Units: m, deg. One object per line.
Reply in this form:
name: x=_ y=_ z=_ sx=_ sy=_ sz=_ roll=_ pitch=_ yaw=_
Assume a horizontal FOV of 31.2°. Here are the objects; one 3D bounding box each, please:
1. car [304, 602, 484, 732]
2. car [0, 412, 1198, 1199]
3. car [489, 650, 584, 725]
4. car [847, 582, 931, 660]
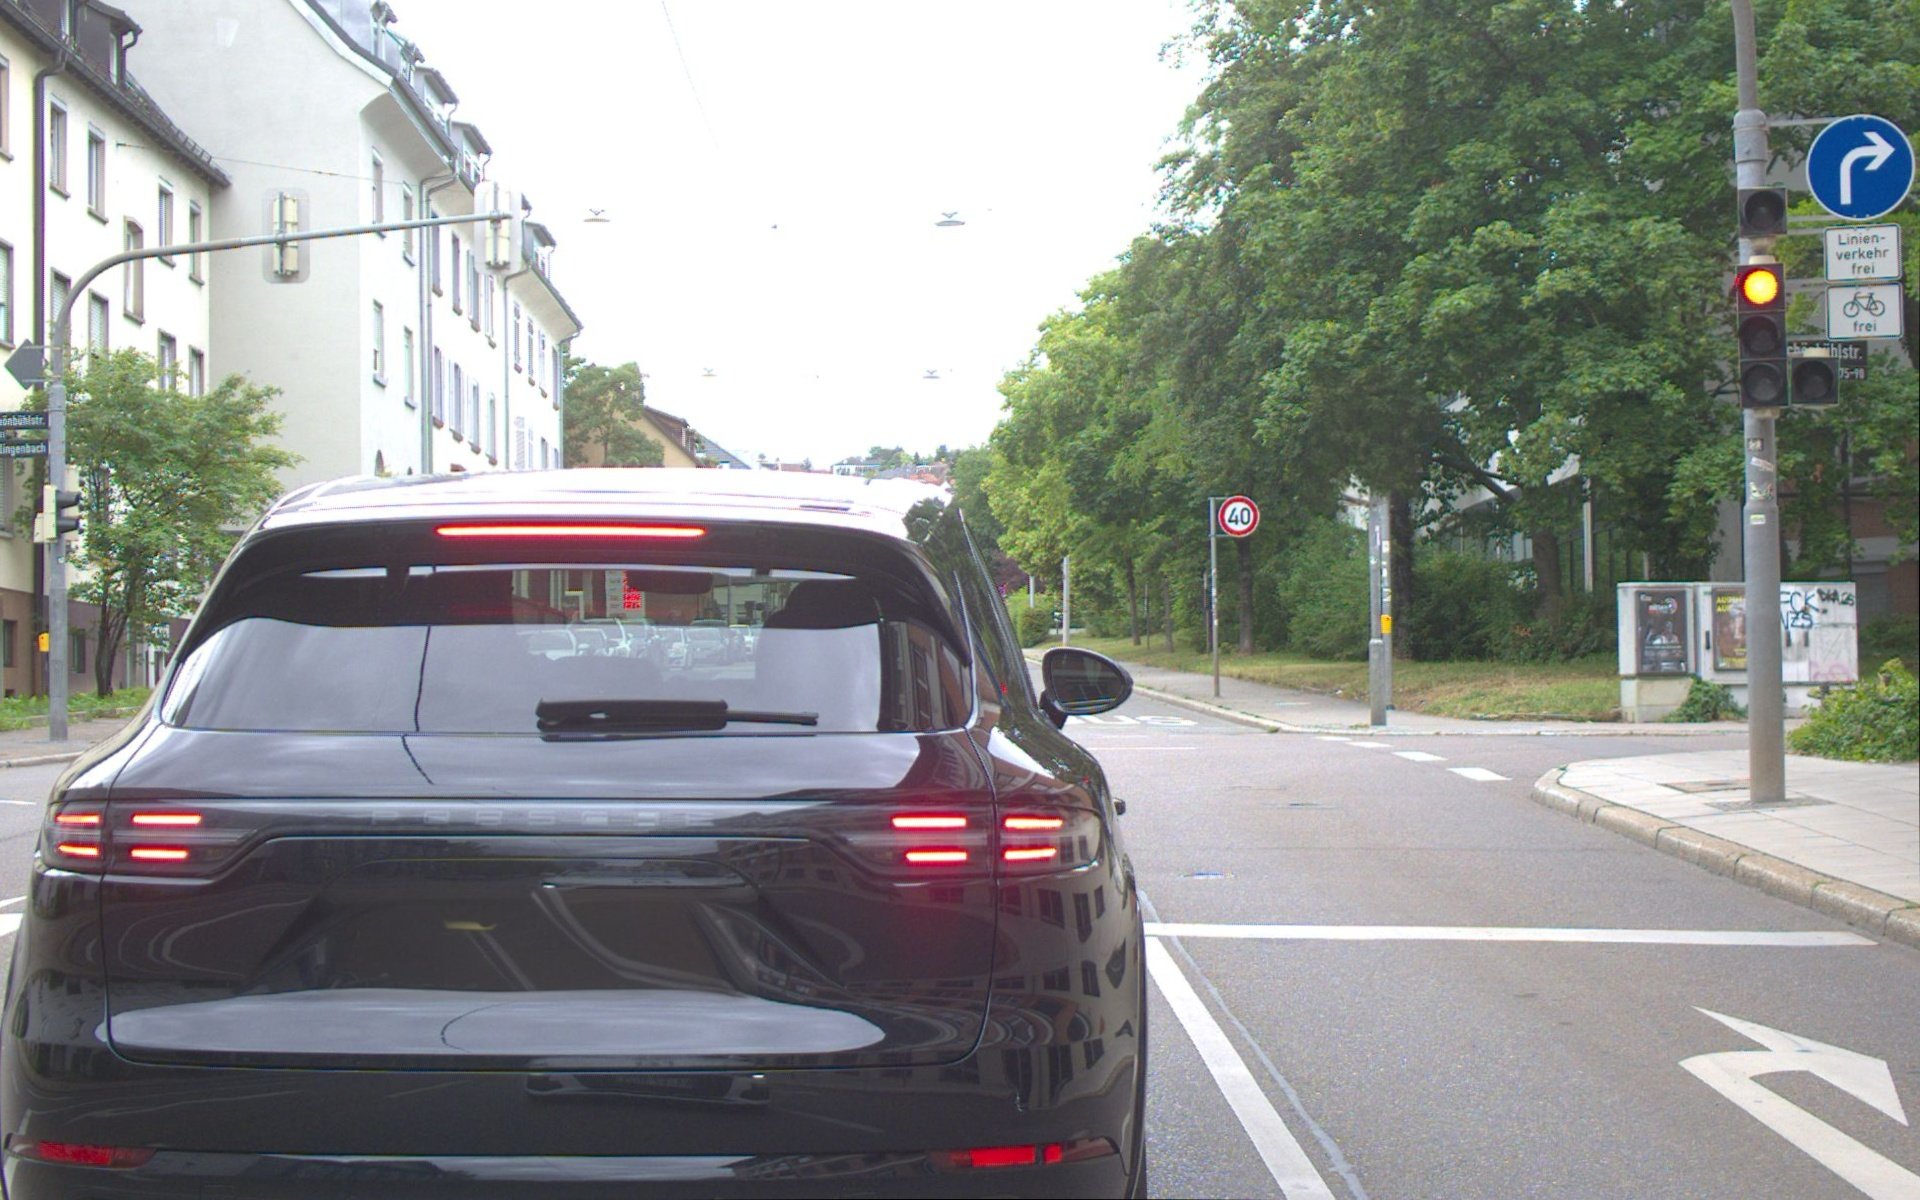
car: x=-7.449 y=0.854 z=45.553 sx=1.664 sy=1.514 sz=3.740 roll=-4 pitch=0 yaw=0
car: x=-0.675 y=0.555 z=7.146 sx=1.993 sy=1.691 sz=4.000 roll=1 pitch=1 yaw=-1
car: x=-8.517 y=1.746 z=69.360 sx=1.669 sy=1.357 sz=4.001 roll=0 pitch=1 yaw=-3
car: x=-1.519 y=0.415 z=72.182 sx=1.688 sy=1.547 sz=3.889 roll=1 pitch=1 yaw=-2
